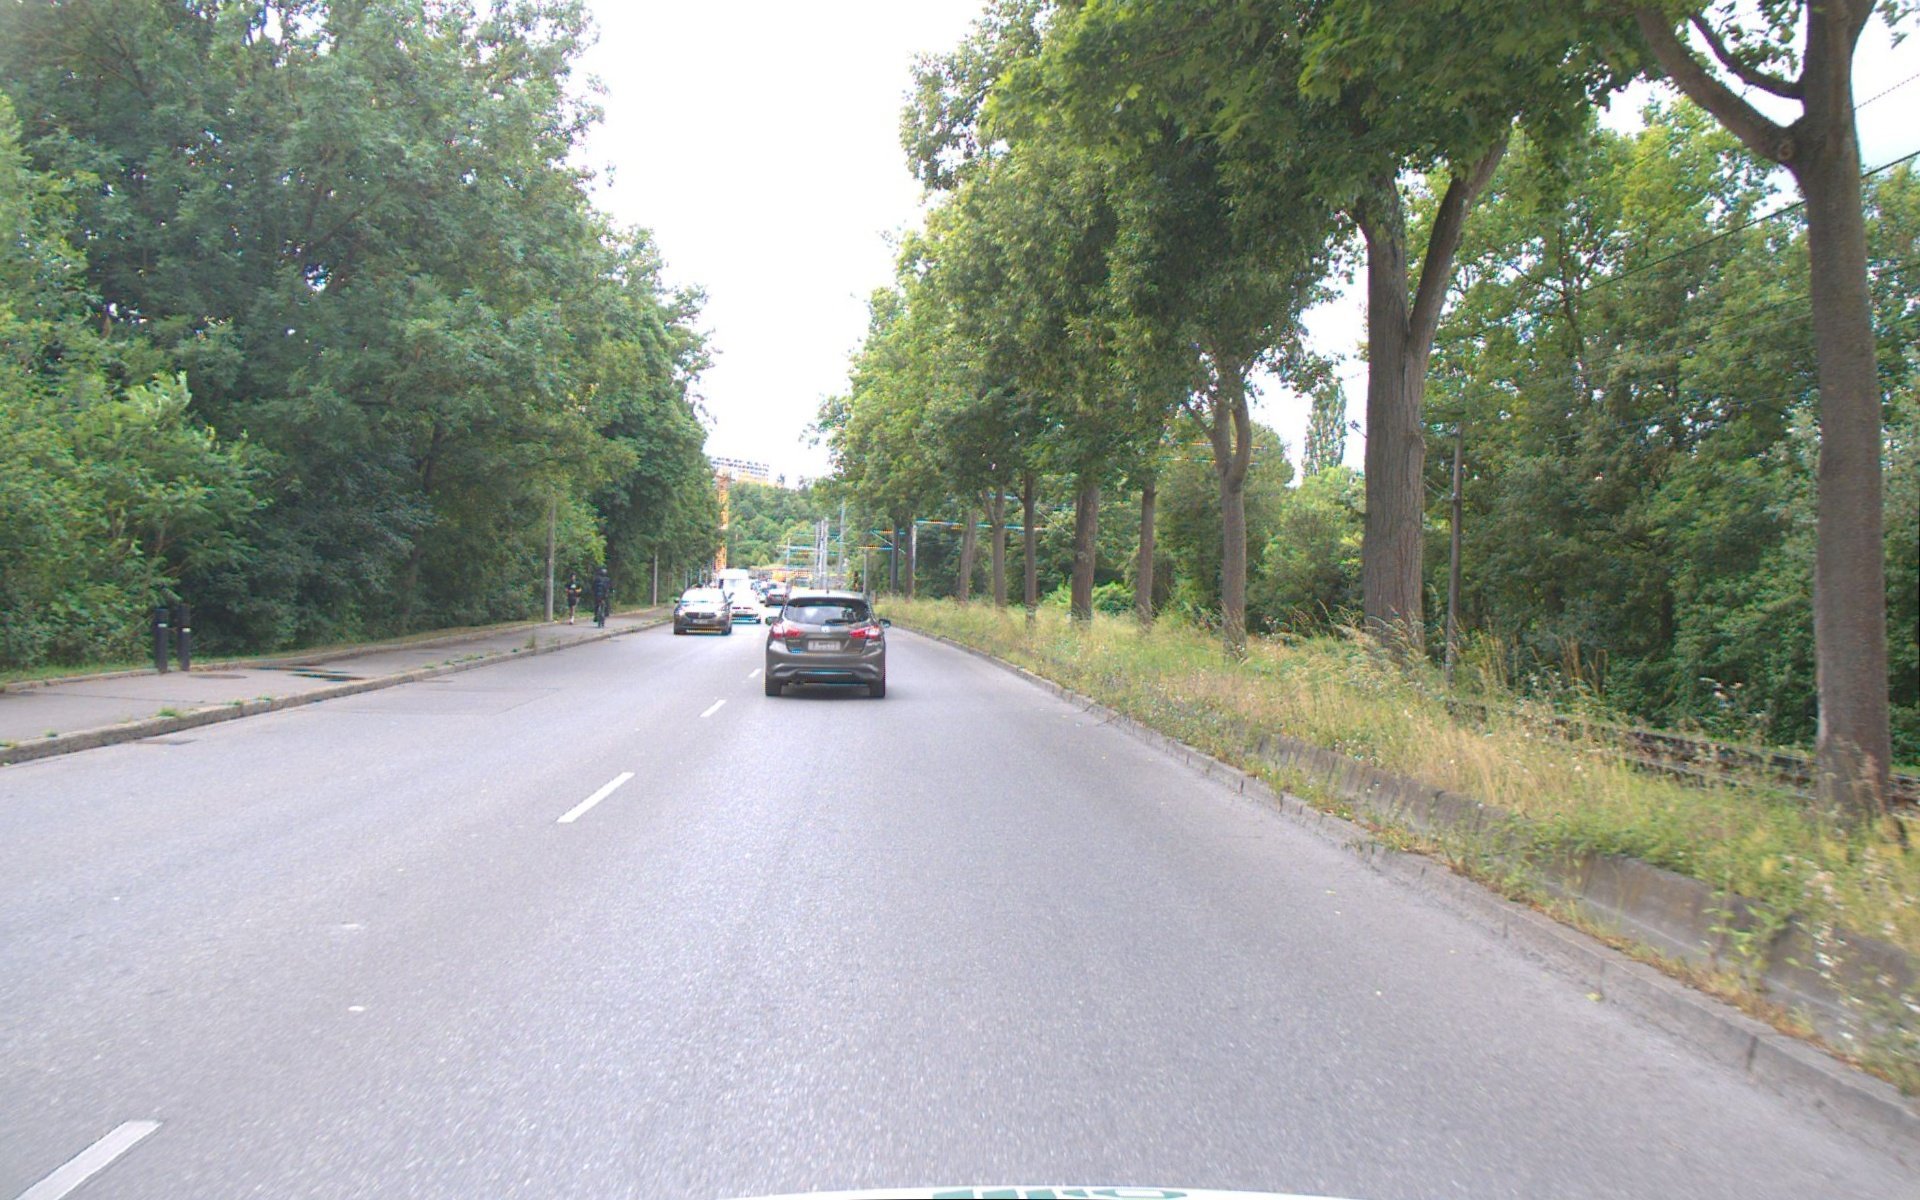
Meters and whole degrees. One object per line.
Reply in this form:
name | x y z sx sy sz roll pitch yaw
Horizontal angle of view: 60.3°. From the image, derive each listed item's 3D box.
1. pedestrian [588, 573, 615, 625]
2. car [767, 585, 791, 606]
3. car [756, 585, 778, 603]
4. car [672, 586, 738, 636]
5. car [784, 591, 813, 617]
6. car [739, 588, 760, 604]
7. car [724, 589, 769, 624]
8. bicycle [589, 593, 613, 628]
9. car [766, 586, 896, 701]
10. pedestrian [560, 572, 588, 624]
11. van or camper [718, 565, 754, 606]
pedestrian | -11.298 -0.033 52.163 0.605 1.598 0.849 4 1 -2
car | -14.805 -0.406 135.351 1.741 1.497 3.997 4 1 -4
car | -17.405 -0.531 149.227 1.741 1.497 3.997 3 1 -4
car | -8.360 0.345 54.470 1.714 1.489 3.917 3 0 -4
car | -10.402 0.241 106.513 1.741 1.497 3.996 4 1 -5
car | -21.850 -0.439 171.789 1.741 1.497 3.997 4 1 -4
car | -9.408 0.270 73.113 1.691 1.353 3.473 3 1 -4
bicycle | -11.294 0.316 52.075 0.478 1.048 1.124 4 1 -2
car | -1.963 0.597 25.077 1.780 1.534 3.996 1 1 -5
pedestrian | -12.862 -0.069 55.115 0.682 1.649 0.684 4 1 -2
van or camper | -13.085 -0.851 96.667 1.889 2.188 3.926 4 1 -7
